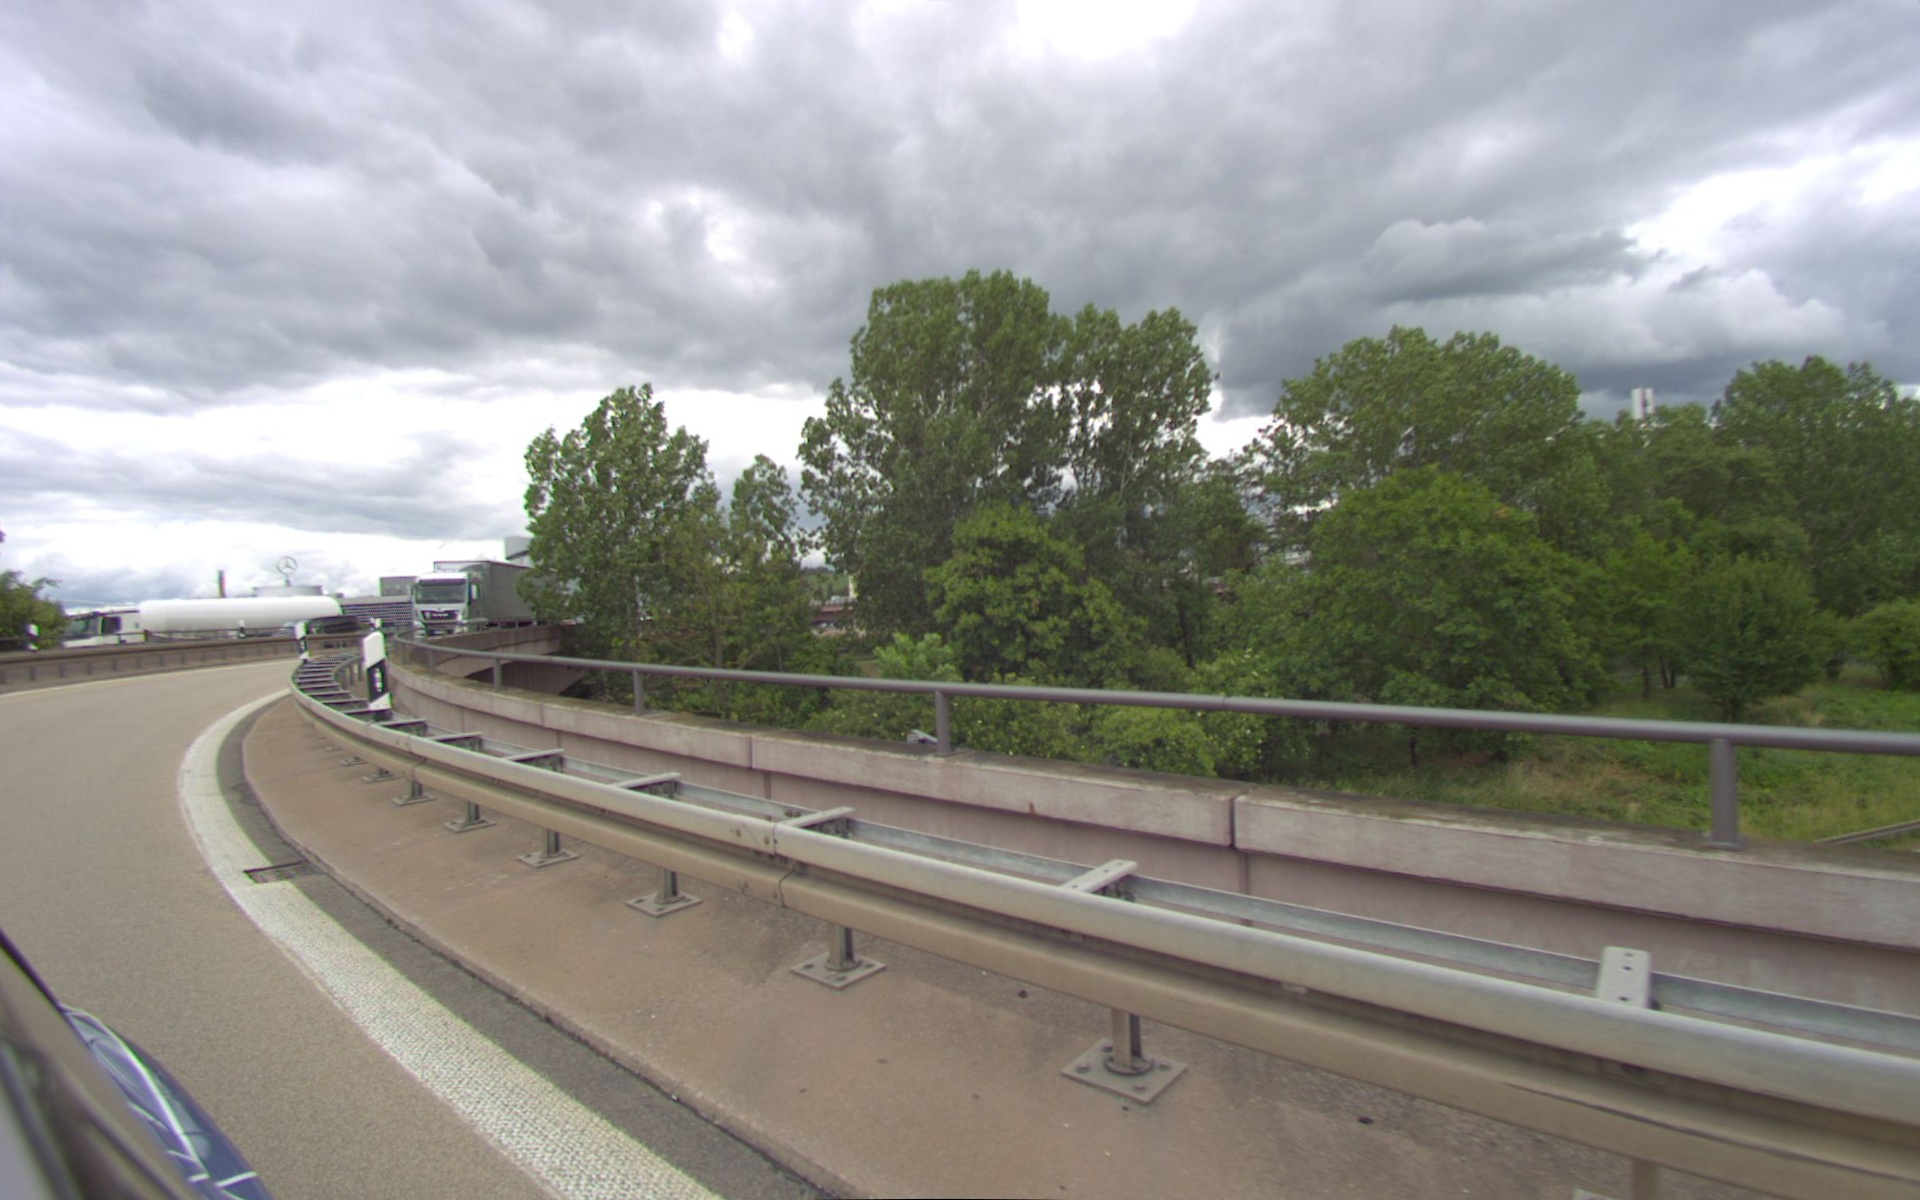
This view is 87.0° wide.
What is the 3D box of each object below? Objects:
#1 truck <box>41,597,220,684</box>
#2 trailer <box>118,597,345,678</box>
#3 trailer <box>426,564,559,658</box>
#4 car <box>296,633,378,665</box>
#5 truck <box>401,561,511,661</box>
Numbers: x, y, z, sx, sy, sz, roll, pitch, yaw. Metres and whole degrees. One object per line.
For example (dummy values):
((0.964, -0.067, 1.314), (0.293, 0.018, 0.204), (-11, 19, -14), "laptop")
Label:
((-38.108, 1.736, 46.821), (2.704, 3.673, 6.187), (-2, 0, 7), "truck")
((-37.241, 1.740, 52.551), (2.717, 3.677, 10.979), (-2, 0, 8), "trailer")
((-24.395, 0.530, 53.739), (2.705, 4.269, 13.473), (-2, 0, -9), "trailer")
((-32.287, 2.518, 52.568), (1.766, 1.419, 3.799), (-2, 0, 2), "car")
((-23.396, 0.484, 47.322), (2.693, 4.260, 6.212), (-2, 0, -9), "truck")
